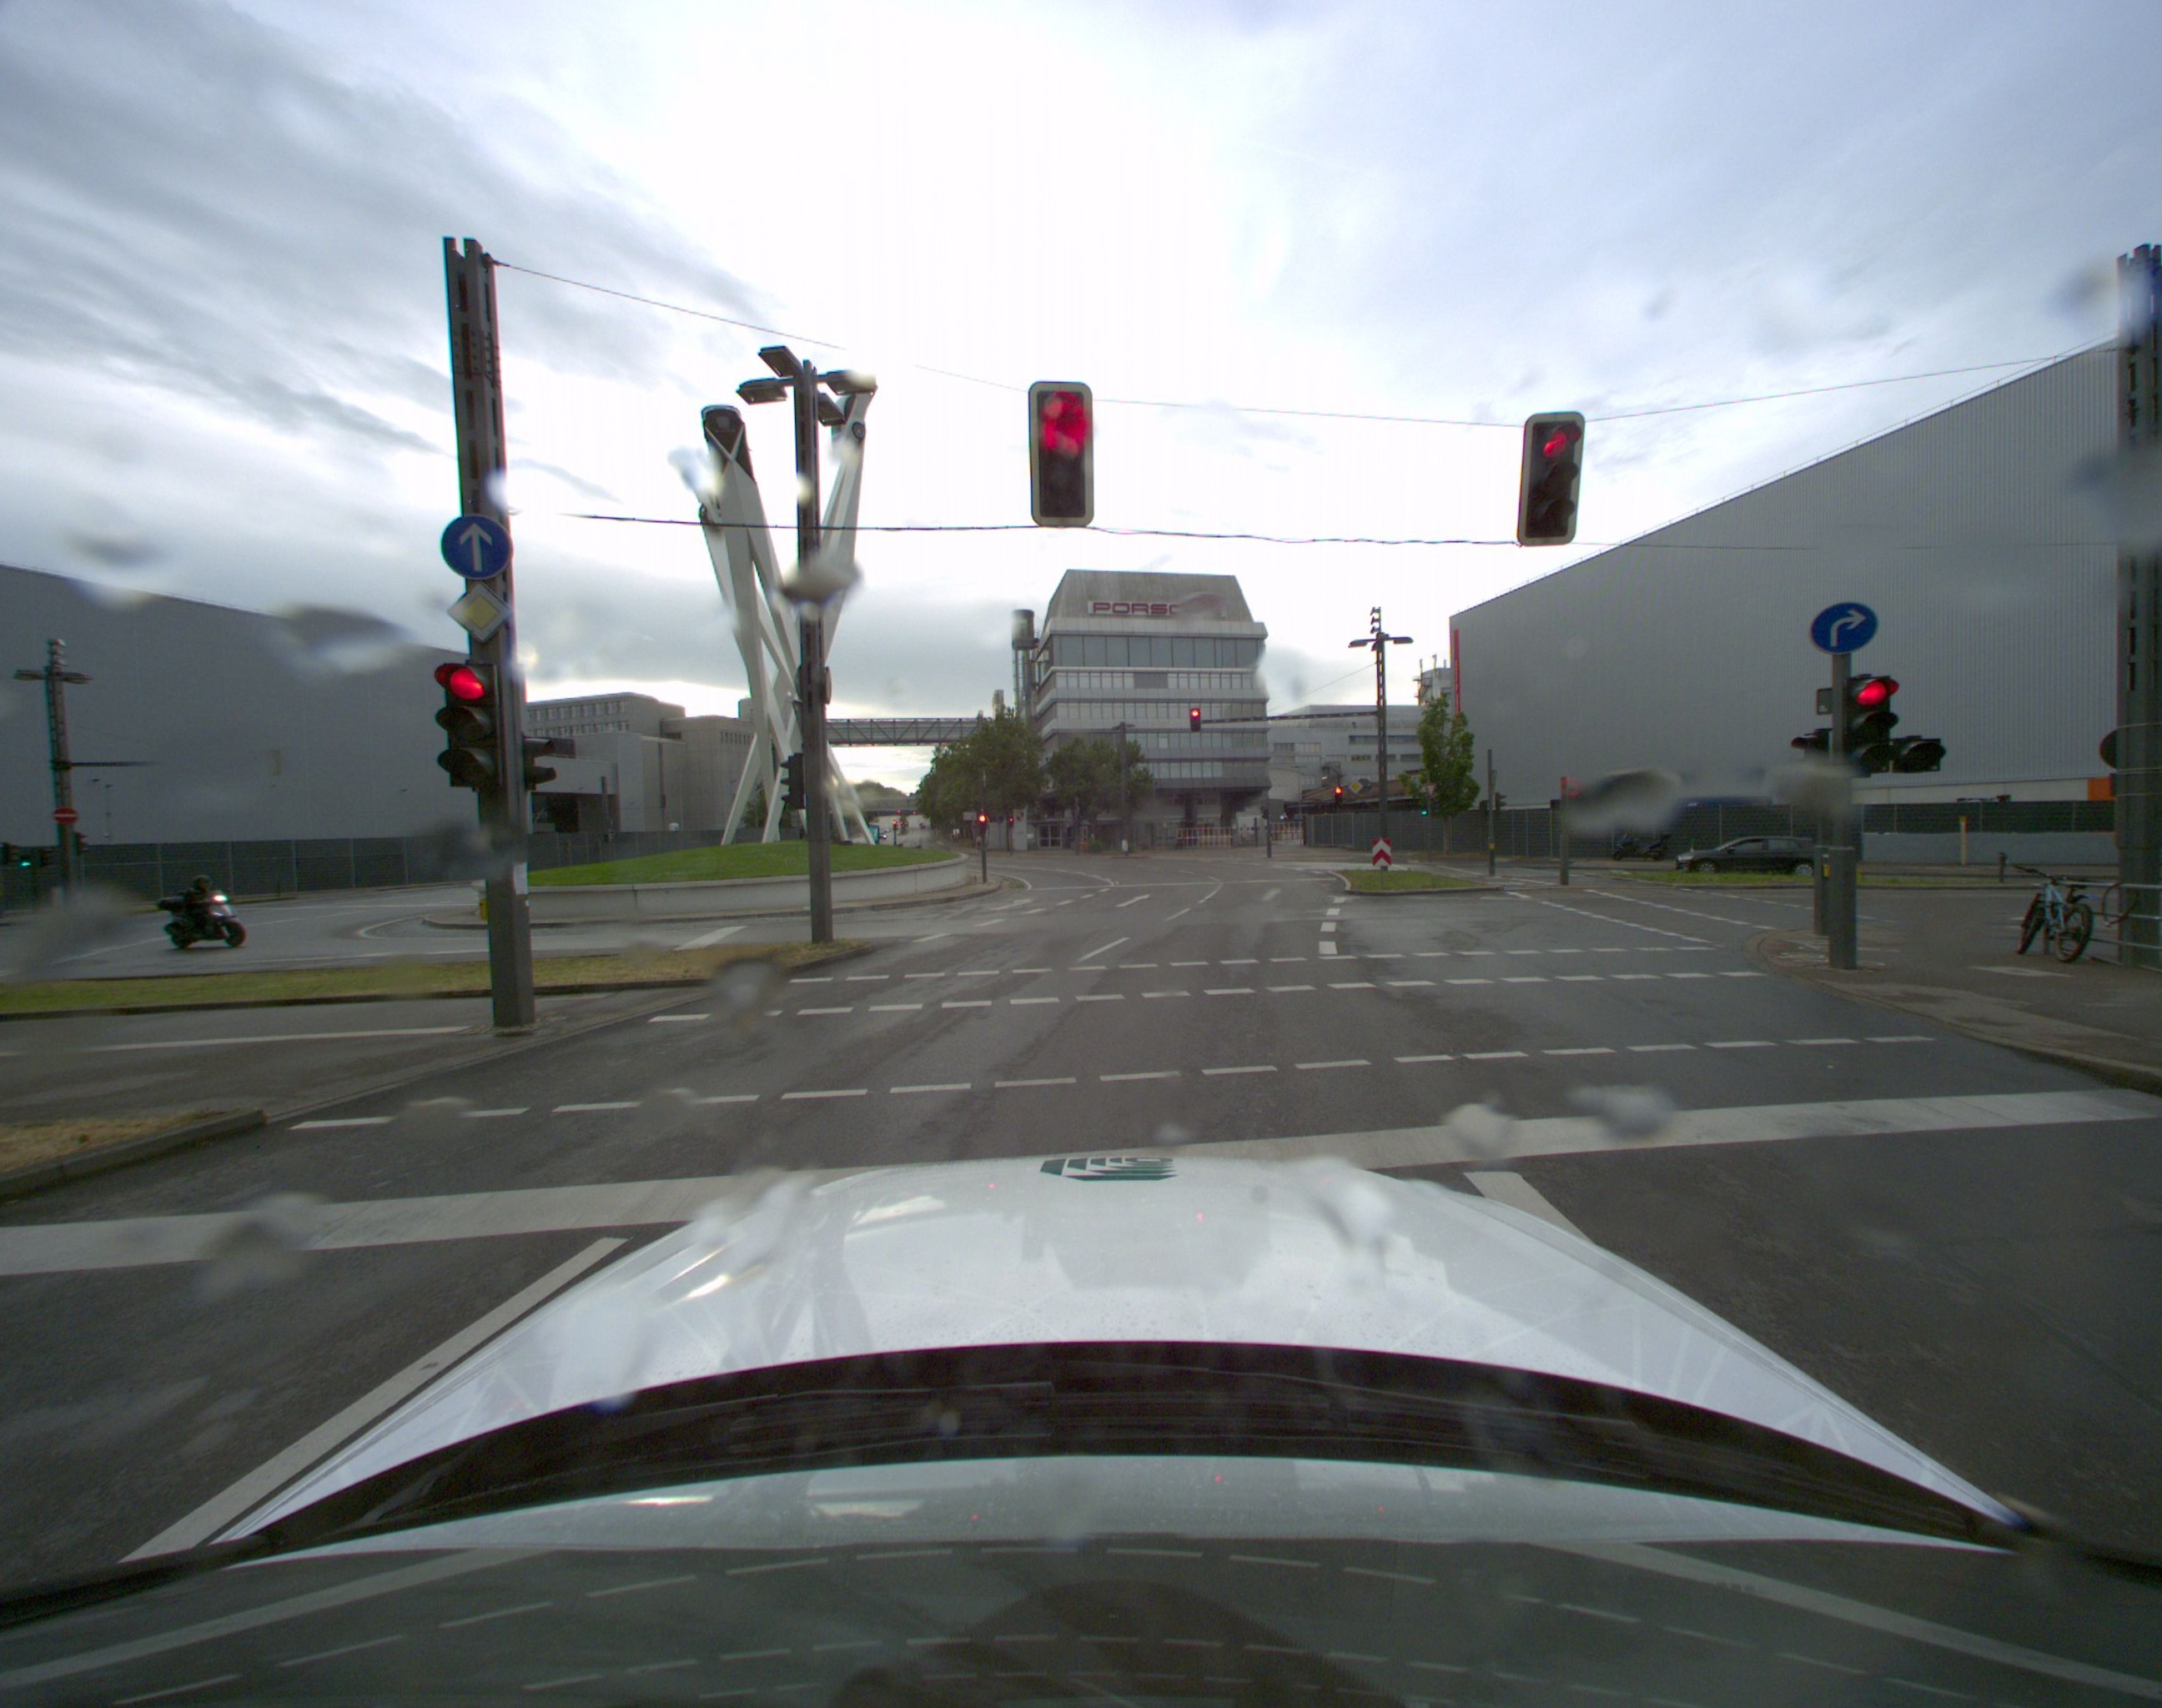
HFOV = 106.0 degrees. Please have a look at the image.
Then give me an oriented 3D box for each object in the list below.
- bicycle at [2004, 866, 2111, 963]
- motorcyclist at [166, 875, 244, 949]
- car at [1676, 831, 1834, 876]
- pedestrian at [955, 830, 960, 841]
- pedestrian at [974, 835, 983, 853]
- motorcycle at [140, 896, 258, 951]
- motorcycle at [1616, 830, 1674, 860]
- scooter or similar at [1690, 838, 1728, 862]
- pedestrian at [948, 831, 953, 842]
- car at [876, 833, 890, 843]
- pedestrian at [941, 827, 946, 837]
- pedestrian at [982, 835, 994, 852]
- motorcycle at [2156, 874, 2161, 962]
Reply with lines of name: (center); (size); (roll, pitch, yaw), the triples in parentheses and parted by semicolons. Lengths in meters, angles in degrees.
bicycle: (12.565, 0.725, 10.534); (0.416, 1.130, 2.086); (-1, -1, 37)
motorcyclist: (-20.442, 1.340, 19.016); (1.028, 1.622, 0.671); (-2, 0, 1)
car: (22.825, -0.033, 27.785); (3.949, 1.425, 1.732); (0, 1, 31)
pedestrian: (-19.875, -3.012, 131.220); (0.757, 1.740, 0.712); (0, -1, -8)
pedestrian: (-9.442, -0.956, 75.039); (0.708, 1.591, 0.839); (-2, 2, -7)
motorcycle: (-20.485, 1.610, 18.926); (2.250, 1.192, 0.451); (-2, 0, 2)
motorcycle: (25.575, -0.410, 36.959); (2.074, 1.310, 0.659); (0, 2, 27)
scooter or similar: (27.554, -0.198, 35.756); (0.387, 1.028, 1.259); (-2, 2, -29)
pedestrian: (-19.268, -2.588, 120.397); (0.712, 1.740, 0.757); (0, -1, -12)
car: (-43.507, -3.468, 179.081); (1.986, 2.014, 4.001); (0, -1, 2)
pedestrian: (-28.174, -4.493, 166.989); (0.761, 2.013, 0.693); (-1, 1, 5)
pedestrian: (-8.513, -0.926, 74.401); (0.835, 1.520, 0.835); (-3, 2, -22)
motorcycle: (15.157, 0.831, 10.292); (2.074, 1.145, 0.490); (0, -1, 11)
